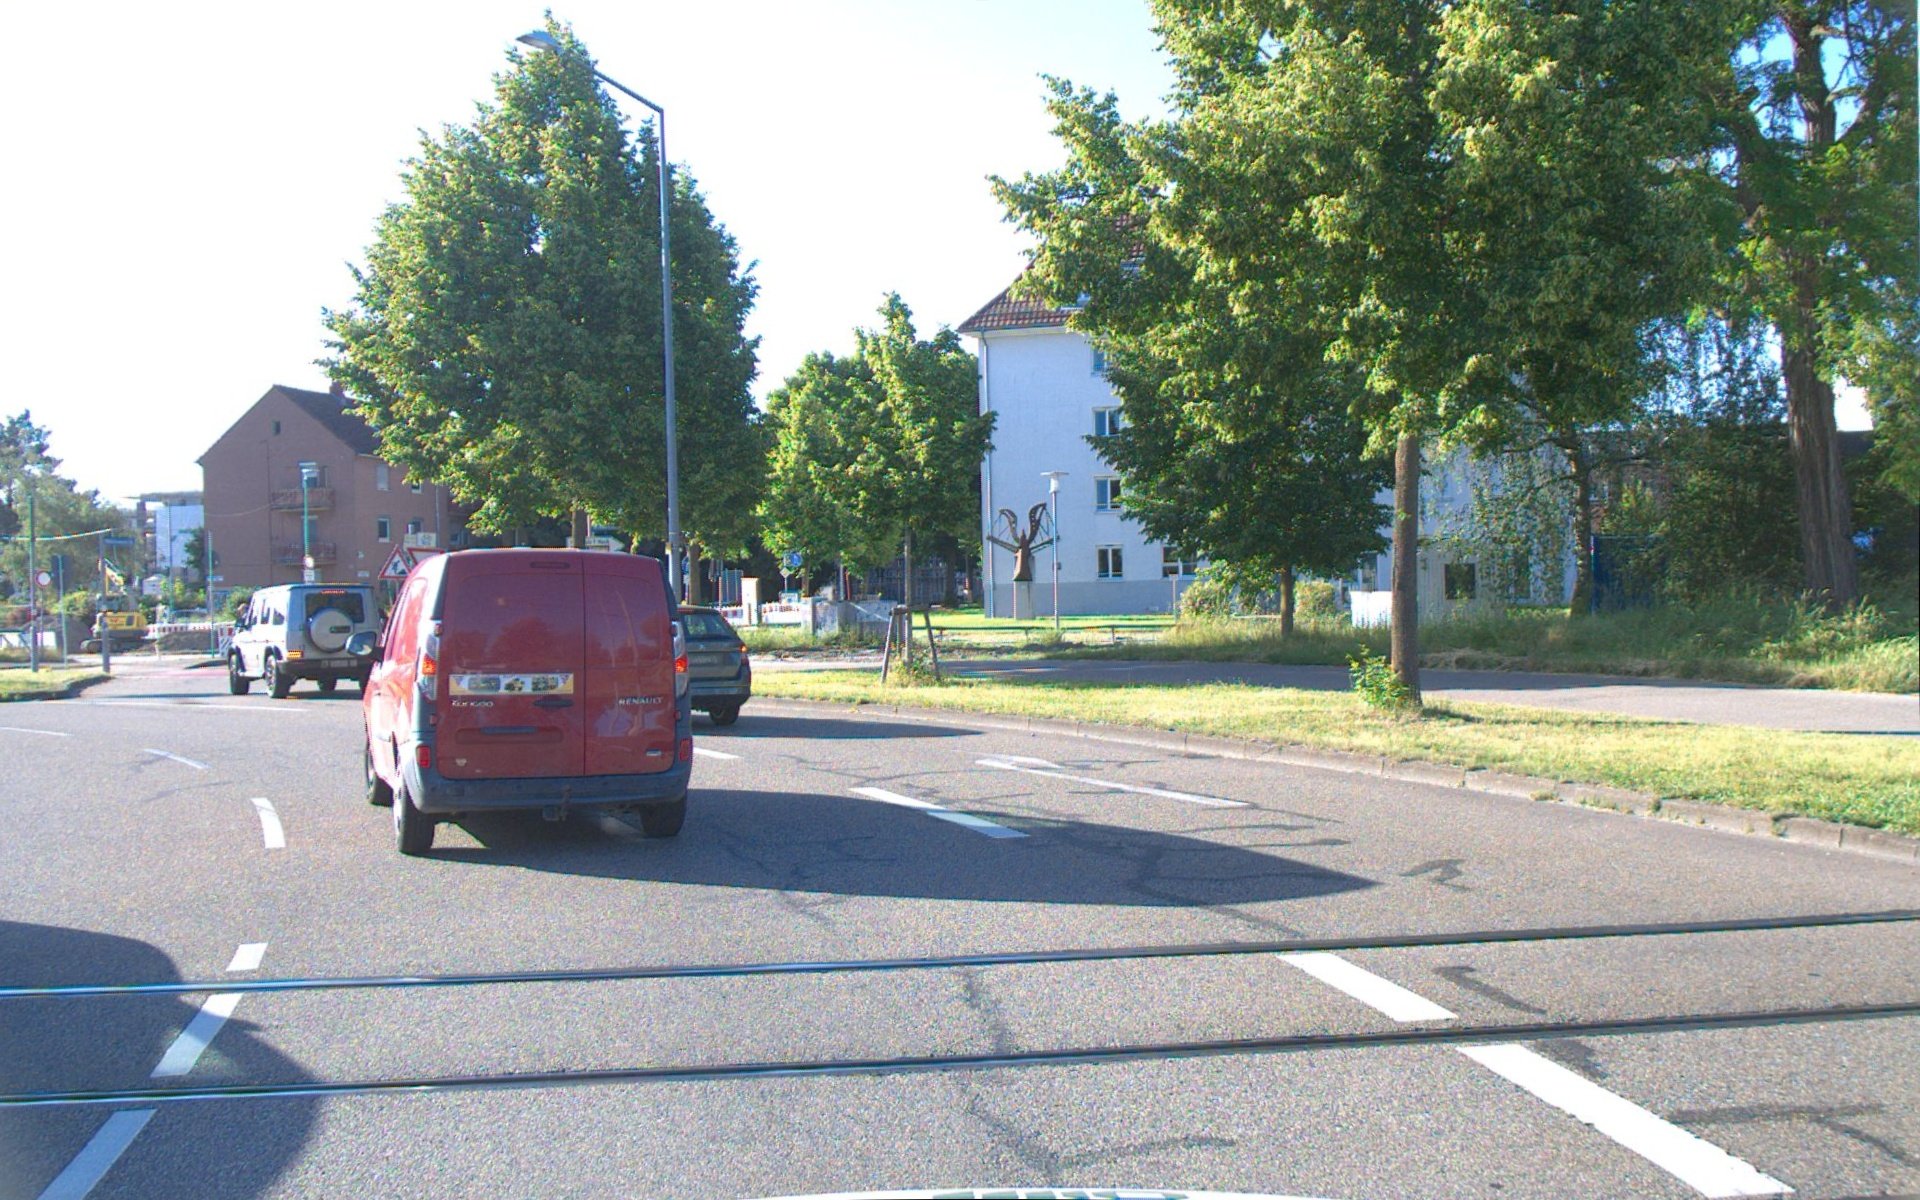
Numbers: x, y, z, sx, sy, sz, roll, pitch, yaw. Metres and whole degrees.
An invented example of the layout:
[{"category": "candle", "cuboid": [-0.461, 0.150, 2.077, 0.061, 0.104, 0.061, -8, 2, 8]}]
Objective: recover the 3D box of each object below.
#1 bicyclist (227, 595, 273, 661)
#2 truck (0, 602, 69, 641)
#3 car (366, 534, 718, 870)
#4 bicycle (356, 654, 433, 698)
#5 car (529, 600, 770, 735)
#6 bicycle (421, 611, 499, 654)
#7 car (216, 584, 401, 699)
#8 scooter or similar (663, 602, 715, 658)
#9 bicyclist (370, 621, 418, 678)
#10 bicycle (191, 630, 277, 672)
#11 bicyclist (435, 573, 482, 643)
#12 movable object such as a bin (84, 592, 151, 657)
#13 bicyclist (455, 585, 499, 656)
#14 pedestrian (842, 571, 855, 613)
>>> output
[{"category": "bicyclist", "cuboid": [-19.006, 0.741, 44.282, 0.833, 1.709, 0.743, -1, 2, 2]}, {"category": "truck", "cuboid": [-50.549, 1.161, 88.905, 6.306, 2.049, 2.163, -1, -1, 36]}, {"category": "car", "cuboid": [-2.976, 0.551, 11.188, 1.778, 1.845, 3.783, 0, 0, -23]}, {"category": "bicycle", "cuboid": [-14.144, 1.891, 41.366, 1.780, 1.046, 0.660, -2, -2, 21]}, {"category": "car", "cuboid": [-3.919, 0.771, 20.339, 1.695, 1.461, 4.111, -1, 0, -29]}, {"category": "bicycle", "cuboid": [-12.303, 0.803, 40.694, 1.780, 1.046, 0.660, -1, -1, 19]}, {"category": "car", "cuboid": [-12.072, 0.731, 30.452, 1.982, 1.930, 4.689, -1, 0, -37]}, {"category": "scooter or similar", "cuboid": [-6.294, 0.713, 38.444, 1.239, 1.270, 0.443, -2, -2, 36]}, {"category": "bicyclist", "cuboid": [-14.163, 1.227, 41.381, 0.912, 1.409, 0.660, -1, -1, 19]}, {"category": "bicycle", "cuboid": [-19.450, 1.360, 44.332, 1.962, 1.045, 0.743, -1, 2, 2]}, {"category": "bicyclist", "cuboid": [-12.343, 0.201, 40.732, 0.878, 1.694, 0.660, -1, -1, 19]}, {"category": "movable object such as a bin", "cuboid": [-37.772, 1.080, 74.119, 2.395, 2.822, 3.957, 1, -1, -31]}, {"category": "bicyclist", "cuboid": [-12.208, 0.505, 41.791, 0.793, 1.760, 0.655, -2, -1, 13]}, {"category": "pedestrian", "cuboid": [-5.391, -0.386, 79.963, 0.460, 2.049, 0.455, -1, 0, 22]}]
